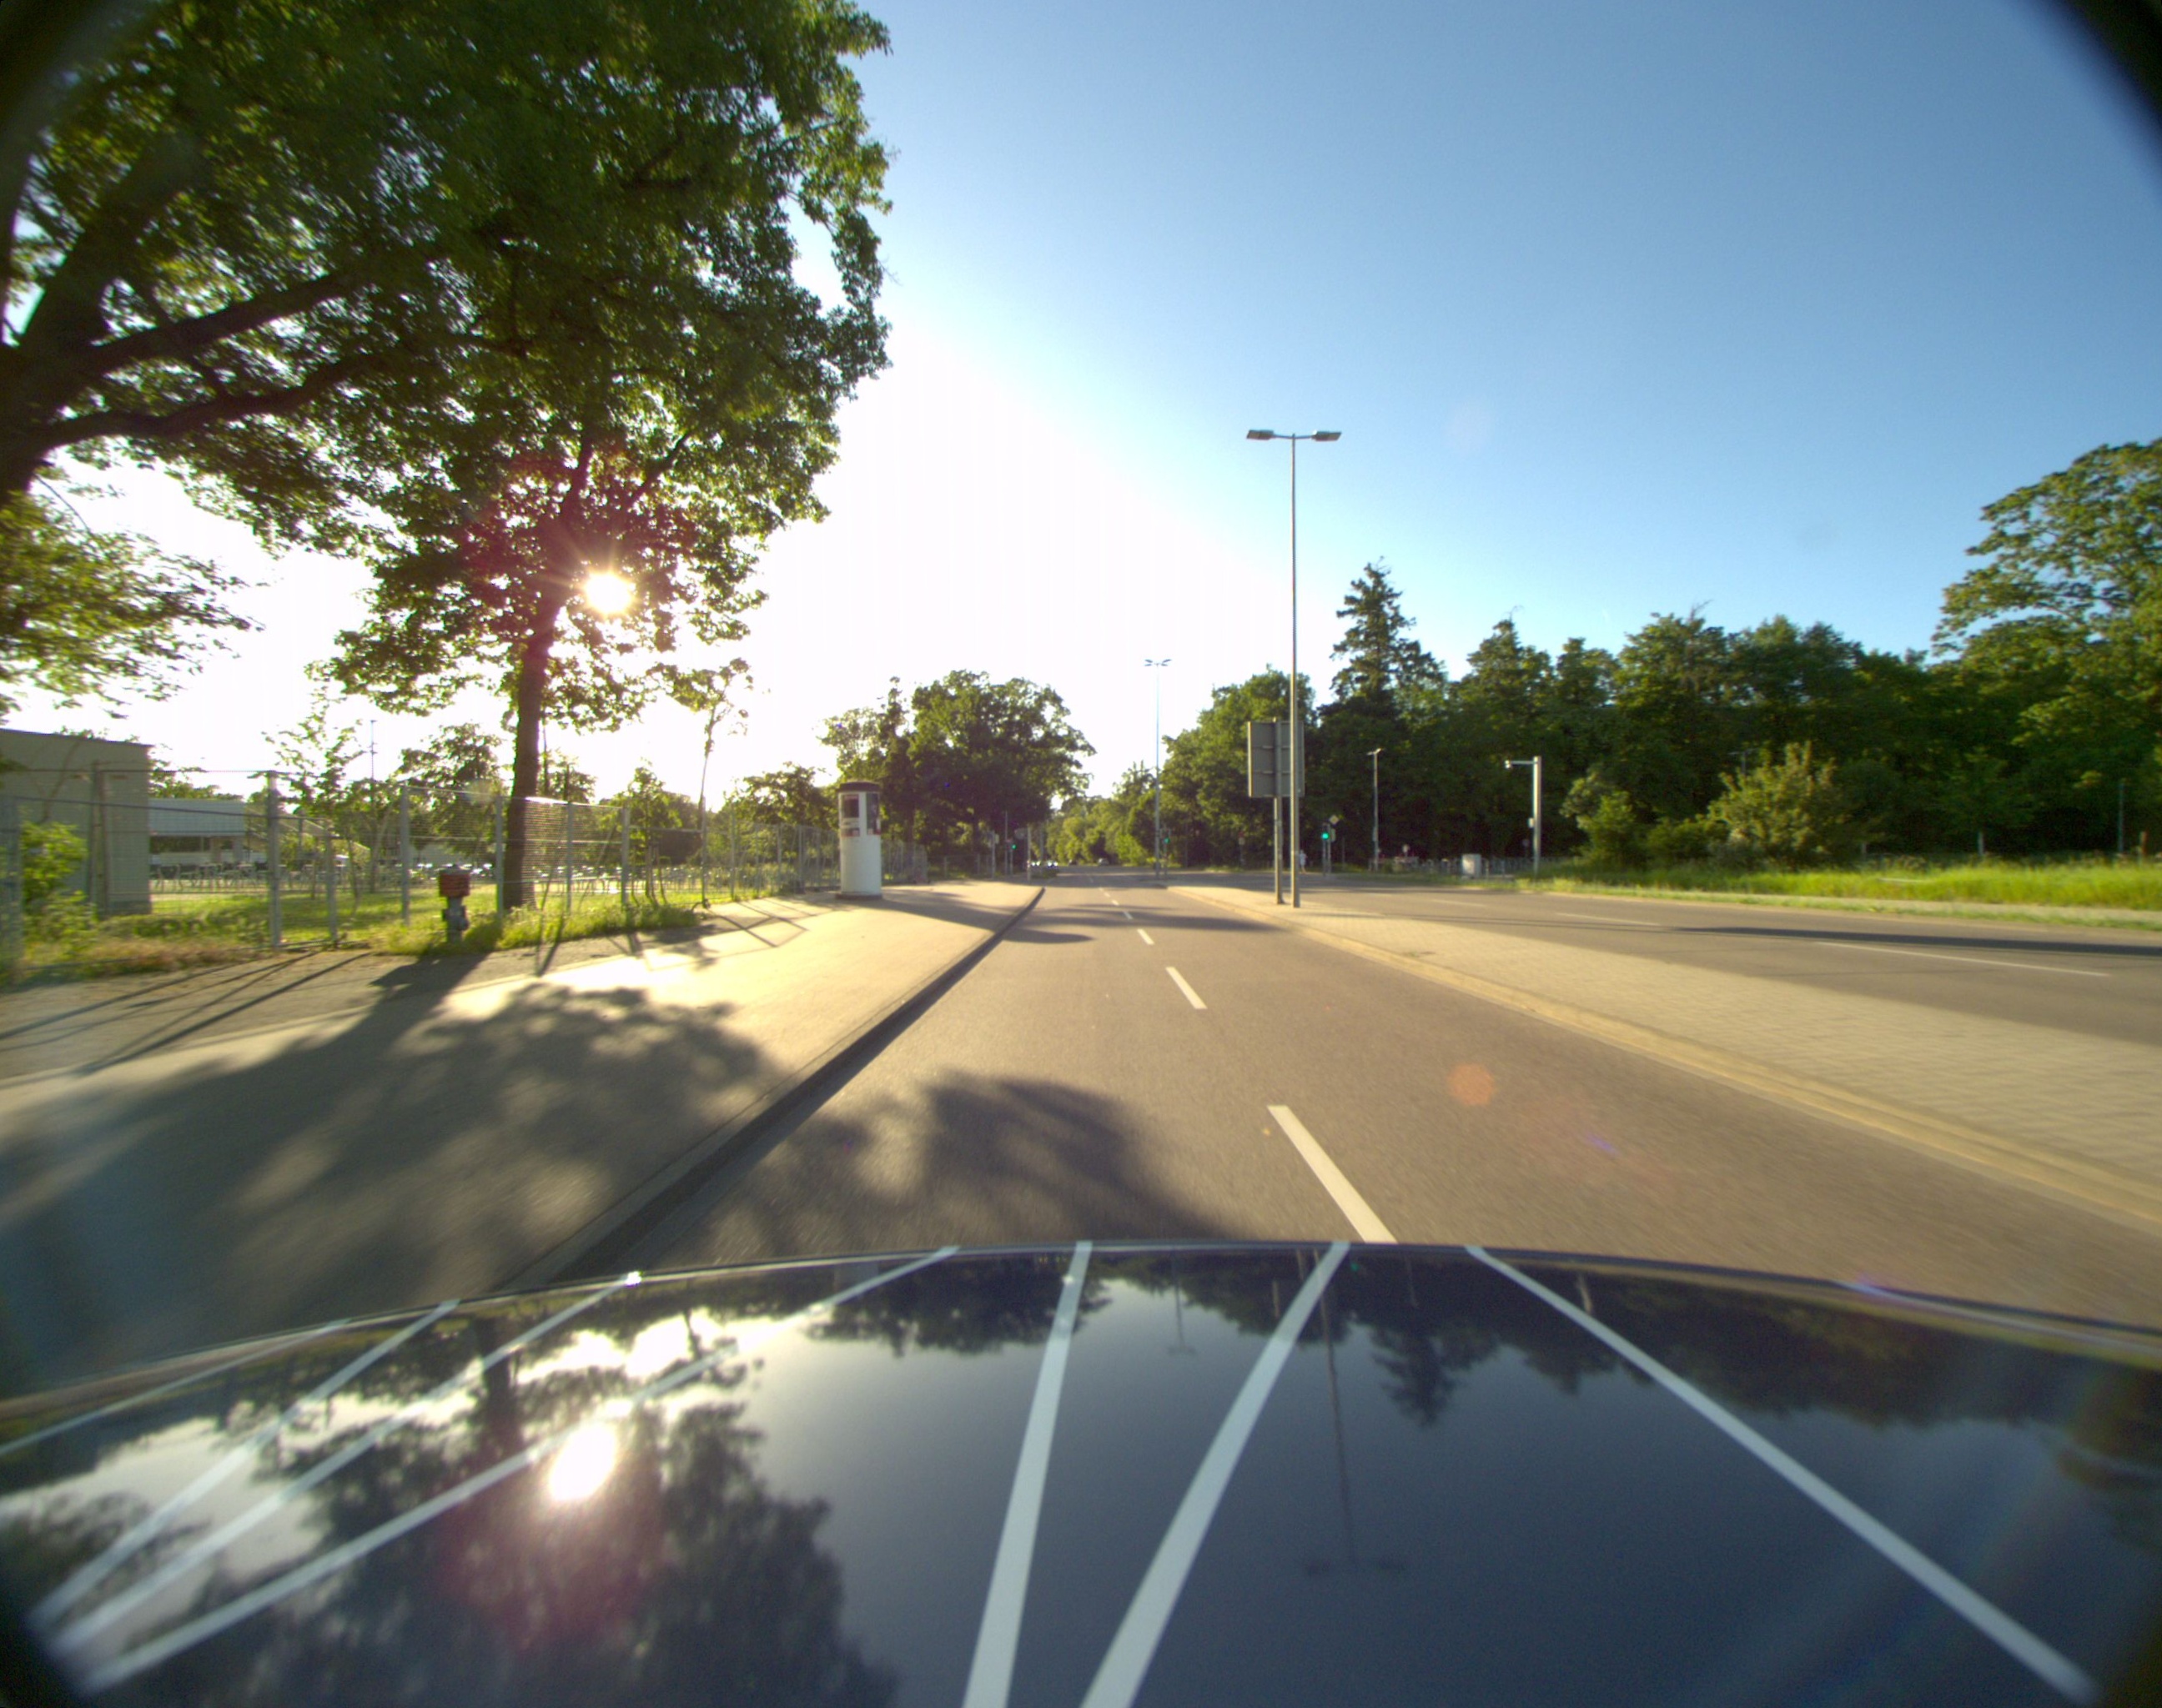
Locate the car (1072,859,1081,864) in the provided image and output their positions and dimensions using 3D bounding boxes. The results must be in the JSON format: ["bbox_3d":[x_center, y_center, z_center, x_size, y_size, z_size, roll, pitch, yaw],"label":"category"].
[{"bbox_3d":[-1.146,1.871,192.259,1.875,1.346,4.006,0,-1,-10],"label":"car"}]

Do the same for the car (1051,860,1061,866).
[{"bbox_3d":[-6.138,2.112,187.566,1.843,1.394,3.996,-2,0,-11],"label":"car"}]

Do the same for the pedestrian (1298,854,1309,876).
[{"bbox_3d":[17.776,0.852,60.599,0.691,1.764,0.734,0,0,3],"label":"pedestrian"}]

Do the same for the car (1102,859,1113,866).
[{"bbox_3d":[5.231,1.661,151.252,1.619,1.346,4.007,0,-1,-7],"label":"car"}]
